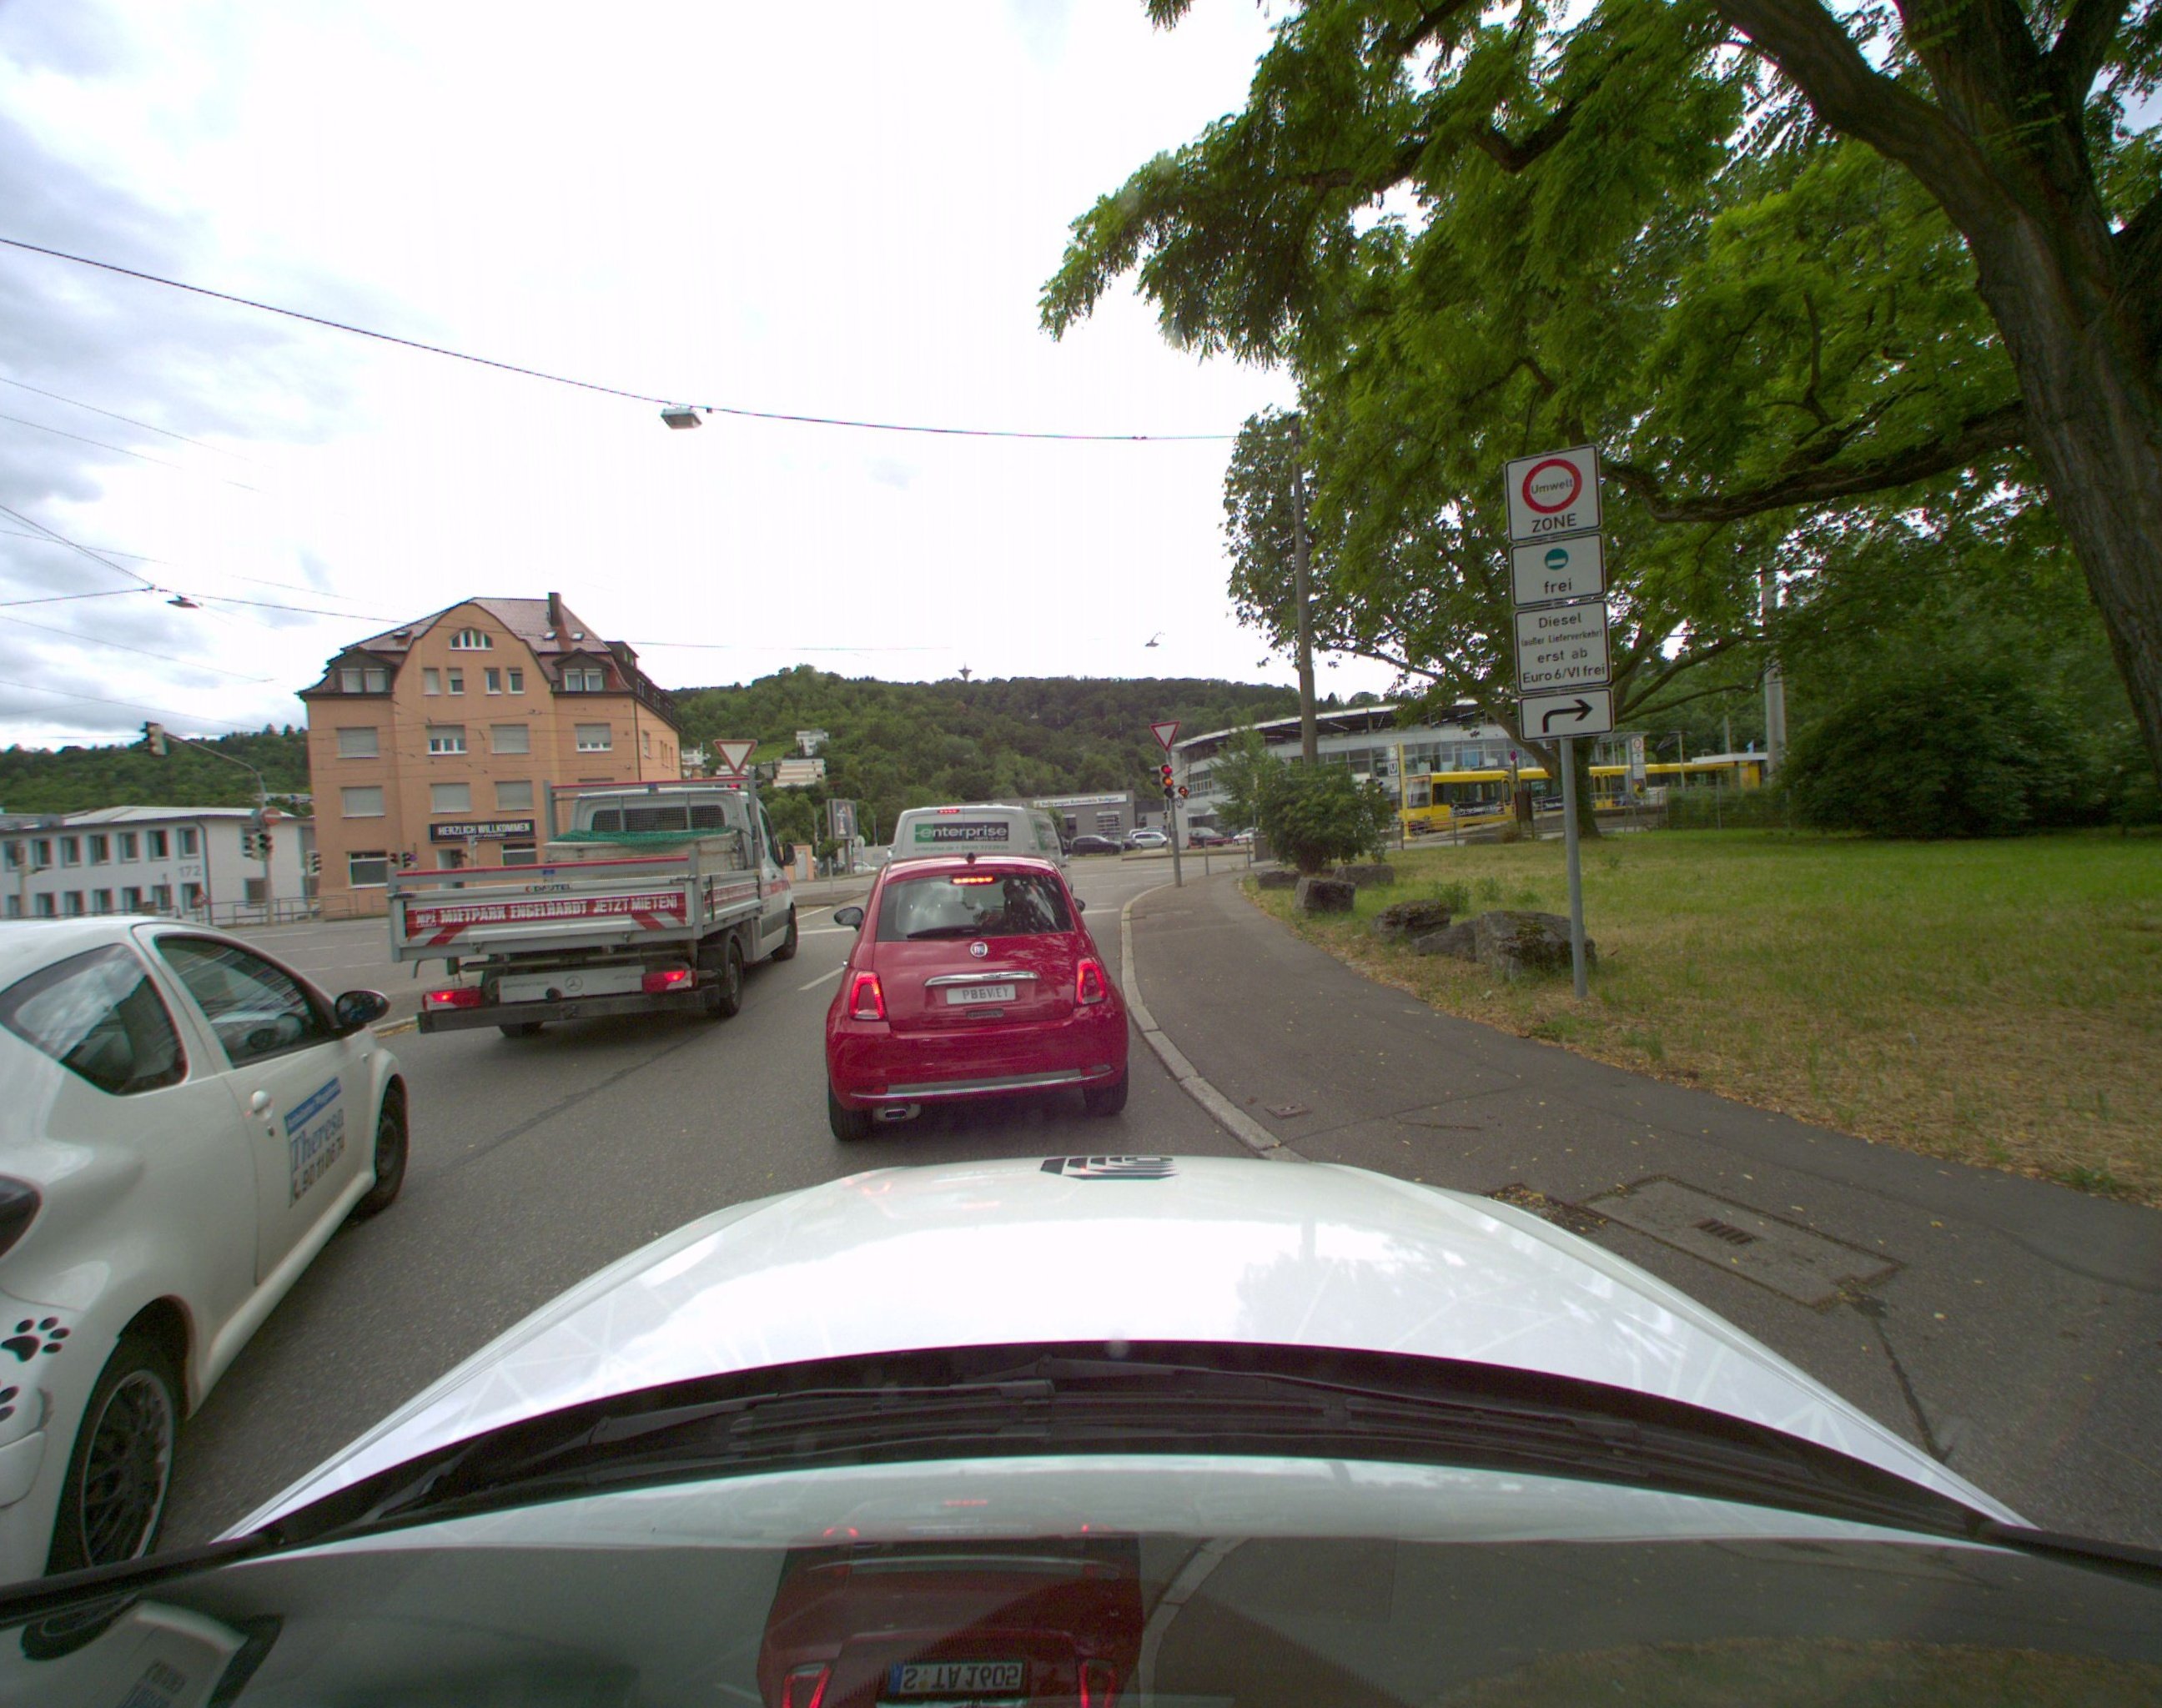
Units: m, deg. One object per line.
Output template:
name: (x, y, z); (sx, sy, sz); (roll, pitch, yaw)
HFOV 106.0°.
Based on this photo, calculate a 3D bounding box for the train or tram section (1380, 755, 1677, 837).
train or tram section: (26.140, -3.412, 46.912); (19.184, 3.665, 3.255); (-4, 1, -21)

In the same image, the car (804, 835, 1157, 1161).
car: (-0.722, 0.666, 5.671); (1.638, 1.456, 3.420); (-3, 1, -9)

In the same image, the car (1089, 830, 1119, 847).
car: (2.856, -1.890, 99.722); (1.974, 1.815, 4.026); (-3, 1, 29)

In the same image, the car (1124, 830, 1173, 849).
car: (6.711, -1.453, 81.115); (4.774, 1.533, 1.778); (-4, 1, 4)

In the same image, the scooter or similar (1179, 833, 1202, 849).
scooter or similar: (8.376, -0.998, 62.283); (1.658, 1.177, 0.469); (-4, 1, 9)

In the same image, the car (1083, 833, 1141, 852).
car: (2.698, -1.025, 70.595); (4.636, 1.327, 1.783); (-4, 1, 15)

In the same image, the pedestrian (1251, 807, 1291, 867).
pedestrian: (5.625, -0.495, 24.096); (0.792, 1.714, 0.687); (-5, 1, -37)

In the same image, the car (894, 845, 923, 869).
car: (-14.544, 0.254, 68.929); (1.858, 1.817, 4.392); (-4, 1, -7)

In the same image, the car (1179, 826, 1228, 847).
car: (9.722, -1.372, 65.019); (1.782, 1.500, 3.843); (-4, 1, -31)

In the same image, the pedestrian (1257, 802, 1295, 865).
pedestrian: (6.025, -0.631, 25.150); (0.793, 1.857, 0.687); (-5, 1, -44)

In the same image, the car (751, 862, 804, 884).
car: (-26.675, 1.665, 71.583); (4.218, 1.533, 1.763); (-4, 1, -20)

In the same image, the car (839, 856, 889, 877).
car: (-19.588, 1.129, 73.623); (4.209, 1.533, 1.767); (-4, 1, -14)

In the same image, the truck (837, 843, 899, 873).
truck: (-20.071, 0.386, 76.739); (5.211, 2.393, 1.983); (-4, 1, -26)

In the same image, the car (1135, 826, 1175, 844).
car: (9.188, -2.366, 101.117); (4.774, 1.802, 1.778); (-4, 1, 4)

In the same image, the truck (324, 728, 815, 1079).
truck: (-4.675, 0.306, 8.993); (2.423, 2.397, 6.006); (-4, 1, -11)

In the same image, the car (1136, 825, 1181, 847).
car: (8.492, -1.982, 89.621); (4.774, 2.156, 2.237); (-4, 1, 4)

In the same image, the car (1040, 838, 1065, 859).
car: (-2.720, -0.589, 79.094); (1.985, 1.815, 4.004); (-4, 1, 3)

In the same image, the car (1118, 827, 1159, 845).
car: (6.815, -2.138, 96.276); (4.774, 1.802, 1.778); (-4, 1, 4)

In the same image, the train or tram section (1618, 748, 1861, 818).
train or tram section: (43.917, -4.772, 53.958); (19.184, 3.665, 3.255); (-4, 1, -21)

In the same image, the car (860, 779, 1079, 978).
car: (-1.267, 0.226, 11.535); (1.981, 2.106, 4.767); (-4, 1, 4)

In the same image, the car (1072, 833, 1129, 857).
car: (1.510, -0.689, 61.468); (3.837, 1.500, 1.784); (-3, 1, 18)

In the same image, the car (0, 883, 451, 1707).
car: (-3.306, 0.893, 2.460); (1.649, 1.432, 3.398); (-5, 1, -30)

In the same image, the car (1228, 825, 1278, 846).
car: (14.066, -1.521, 66.706); (1.781, 1.500, 3.984); (-4, 1, -29)

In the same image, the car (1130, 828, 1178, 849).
car: (7.585, -1.621, 84.643); (4.774, 1.802, 1.778); (-4, 1, 4)
